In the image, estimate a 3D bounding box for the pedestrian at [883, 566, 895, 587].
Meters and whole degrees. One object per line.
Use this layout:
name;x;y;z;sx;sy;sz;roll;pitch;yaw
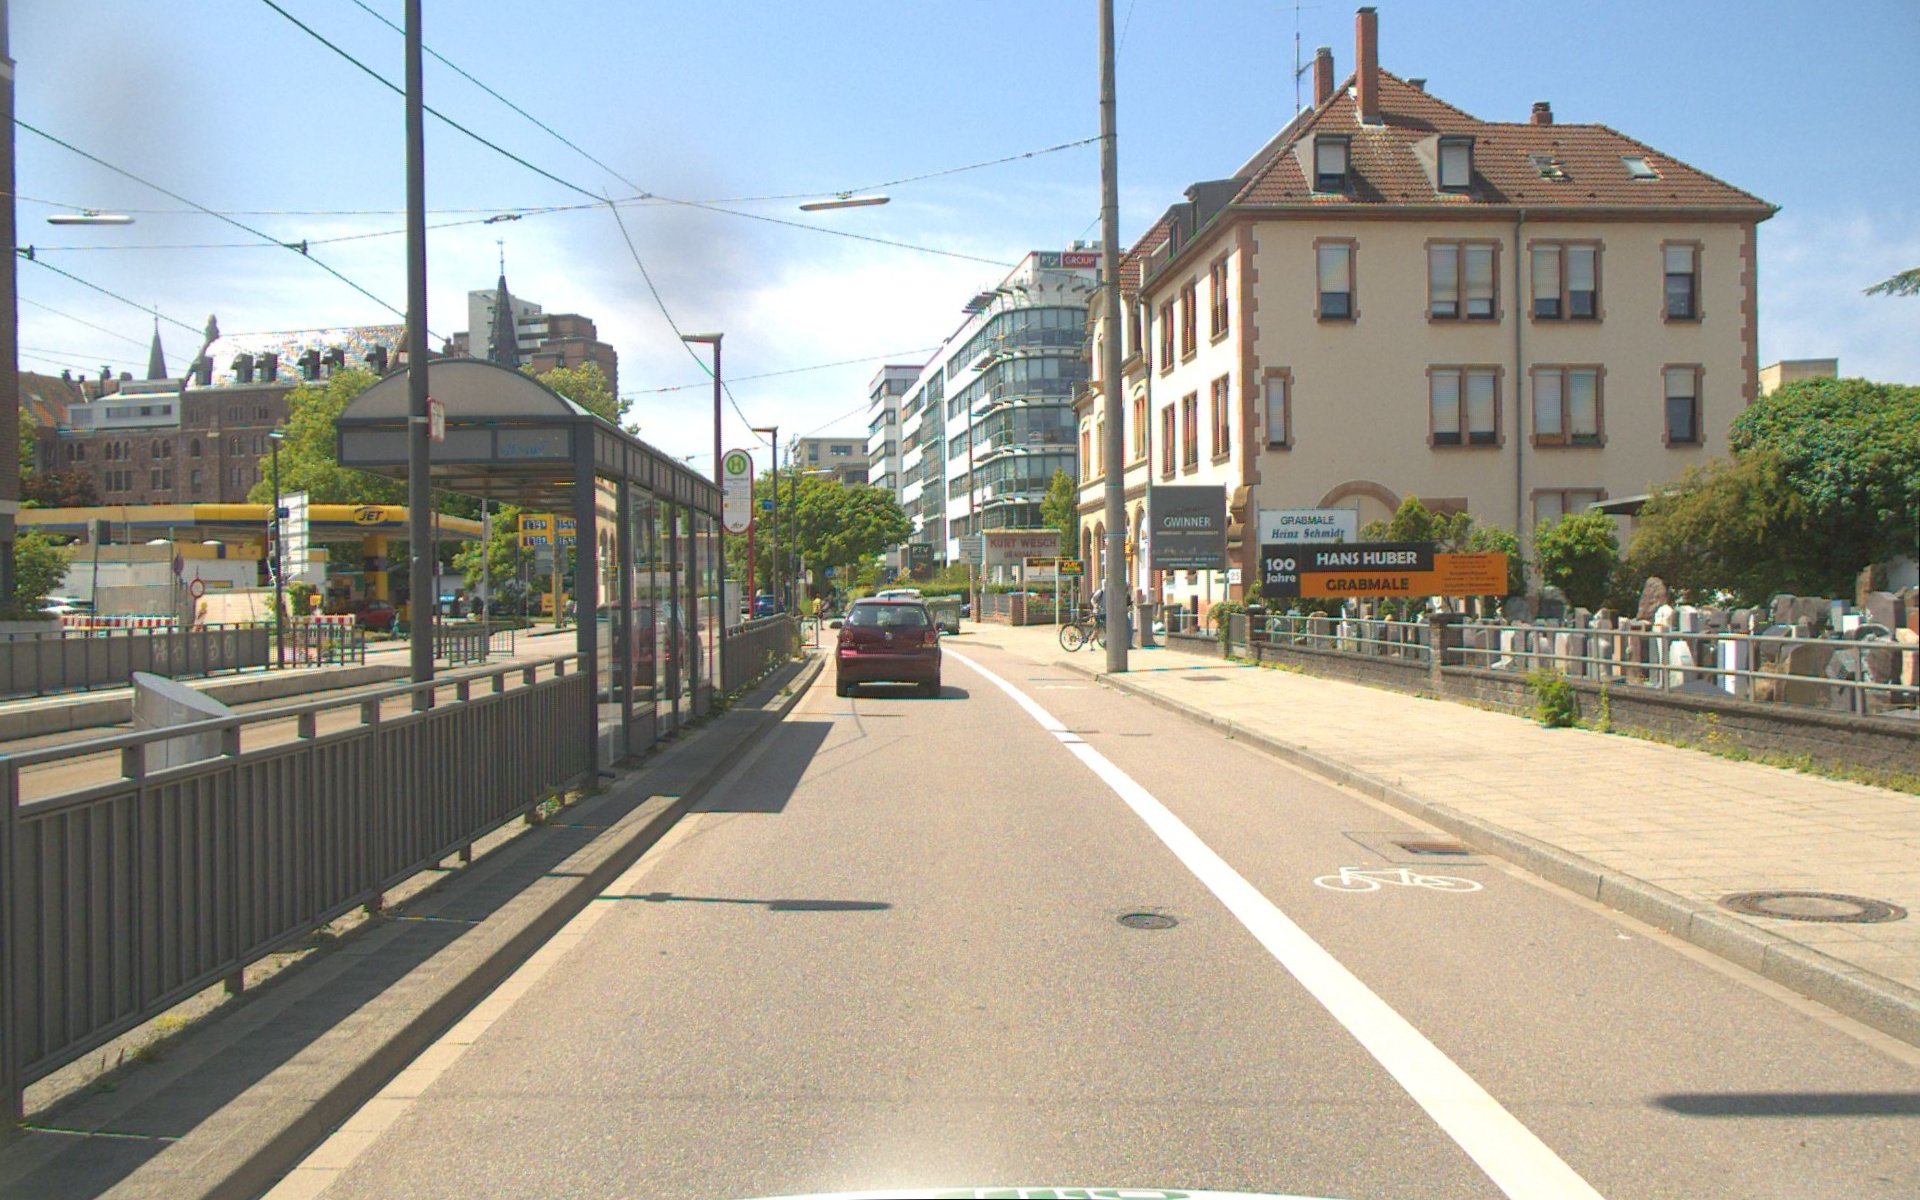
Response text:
pedestrian;-5.946;-1.958;137.950;0.856;1.745;1.089;-2;0;1

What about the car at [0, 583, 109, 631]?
car;-35.259;0.268;63.740;4.173;1.777;1.893;1;0;15

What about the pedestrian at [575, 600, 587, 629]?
pedestrian;-23.188;0.892;101.179;0.613;1.720;0.721;-1;0;-6

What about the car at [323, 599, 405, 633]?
car;-29.678;0.758;82.458;1.787;1.531;4.203;1;2;14

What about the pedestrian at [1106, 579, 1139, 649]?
pedestrian;4.081;0.342;41.474;0.806;1.720;0.589;-1;0;6

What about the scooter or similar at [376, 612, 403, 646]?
scooter or similar;-22.367;1.123;64.896;0.337;1.286;1.243;0;0;16

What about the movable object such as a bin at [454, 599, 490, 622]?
movable object such as a bin;-33.403;0.708;113.264;1.489;1.536;2.101;0;0;15

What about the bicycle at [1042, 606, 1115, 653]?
bicycle;3.048;0.764;42.655;1.767;1.147;0.589;-2;0;28

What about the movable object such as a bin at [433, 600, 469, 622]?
movable object such as a bin;-35.033;0.745;113.832;1.489;1.457;2.101;0;0;15

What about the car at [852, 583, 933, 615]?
car;-3.982;-0.053;96.928;4.458;1.831;1.994;-1;0;-12

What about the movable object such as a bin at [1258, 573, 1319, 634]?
movable object such as a bin;8.669;0.094;43.708;1.303;1.525;1.046;-2;0;-4

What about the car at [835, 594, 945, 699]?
car;-1.049;0.673;26.166;1.586;1.512;3.999;0;0;-1

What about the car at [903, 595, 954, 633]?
car;-1.471;0.629;75.085;1.739;1.575;4.459;-3;0;-8

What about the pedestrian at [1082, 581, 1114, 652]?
pedestrian;3.579;0.422;42.850;0.674;1.803;0.503;-1;0;26

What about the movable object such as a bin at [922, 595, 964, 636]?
movable object such as a bin;-0.673;0.583;63.716;1.368;1.480;1.136;-3;0;-12

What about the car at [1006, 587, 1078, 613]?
car;4.930;-0.015;99.667;4.068;1.485;1.816;-1;0;-5

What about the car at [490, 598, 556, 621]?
car;-30.342;0.662;114.931;1.893;1.514;4.442;1;0;31

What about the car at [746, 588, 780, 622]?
car;-12.369;0.296;103.784;1.957;2.049;3.991;0;0;-9

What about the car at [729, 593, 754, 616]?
car;-17.765;0.364;134.528;1.956;1.769;3.992;-1;0;-8

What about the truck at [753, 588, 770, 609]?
truck;-26.330;-0.165;219.182;1.957;2.708;4.865;0;0;-9

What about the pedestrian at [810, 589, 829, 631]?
pedestrian;-6.847;0.479;80.640;0.770;1.994;0.585;-1;0;-24
